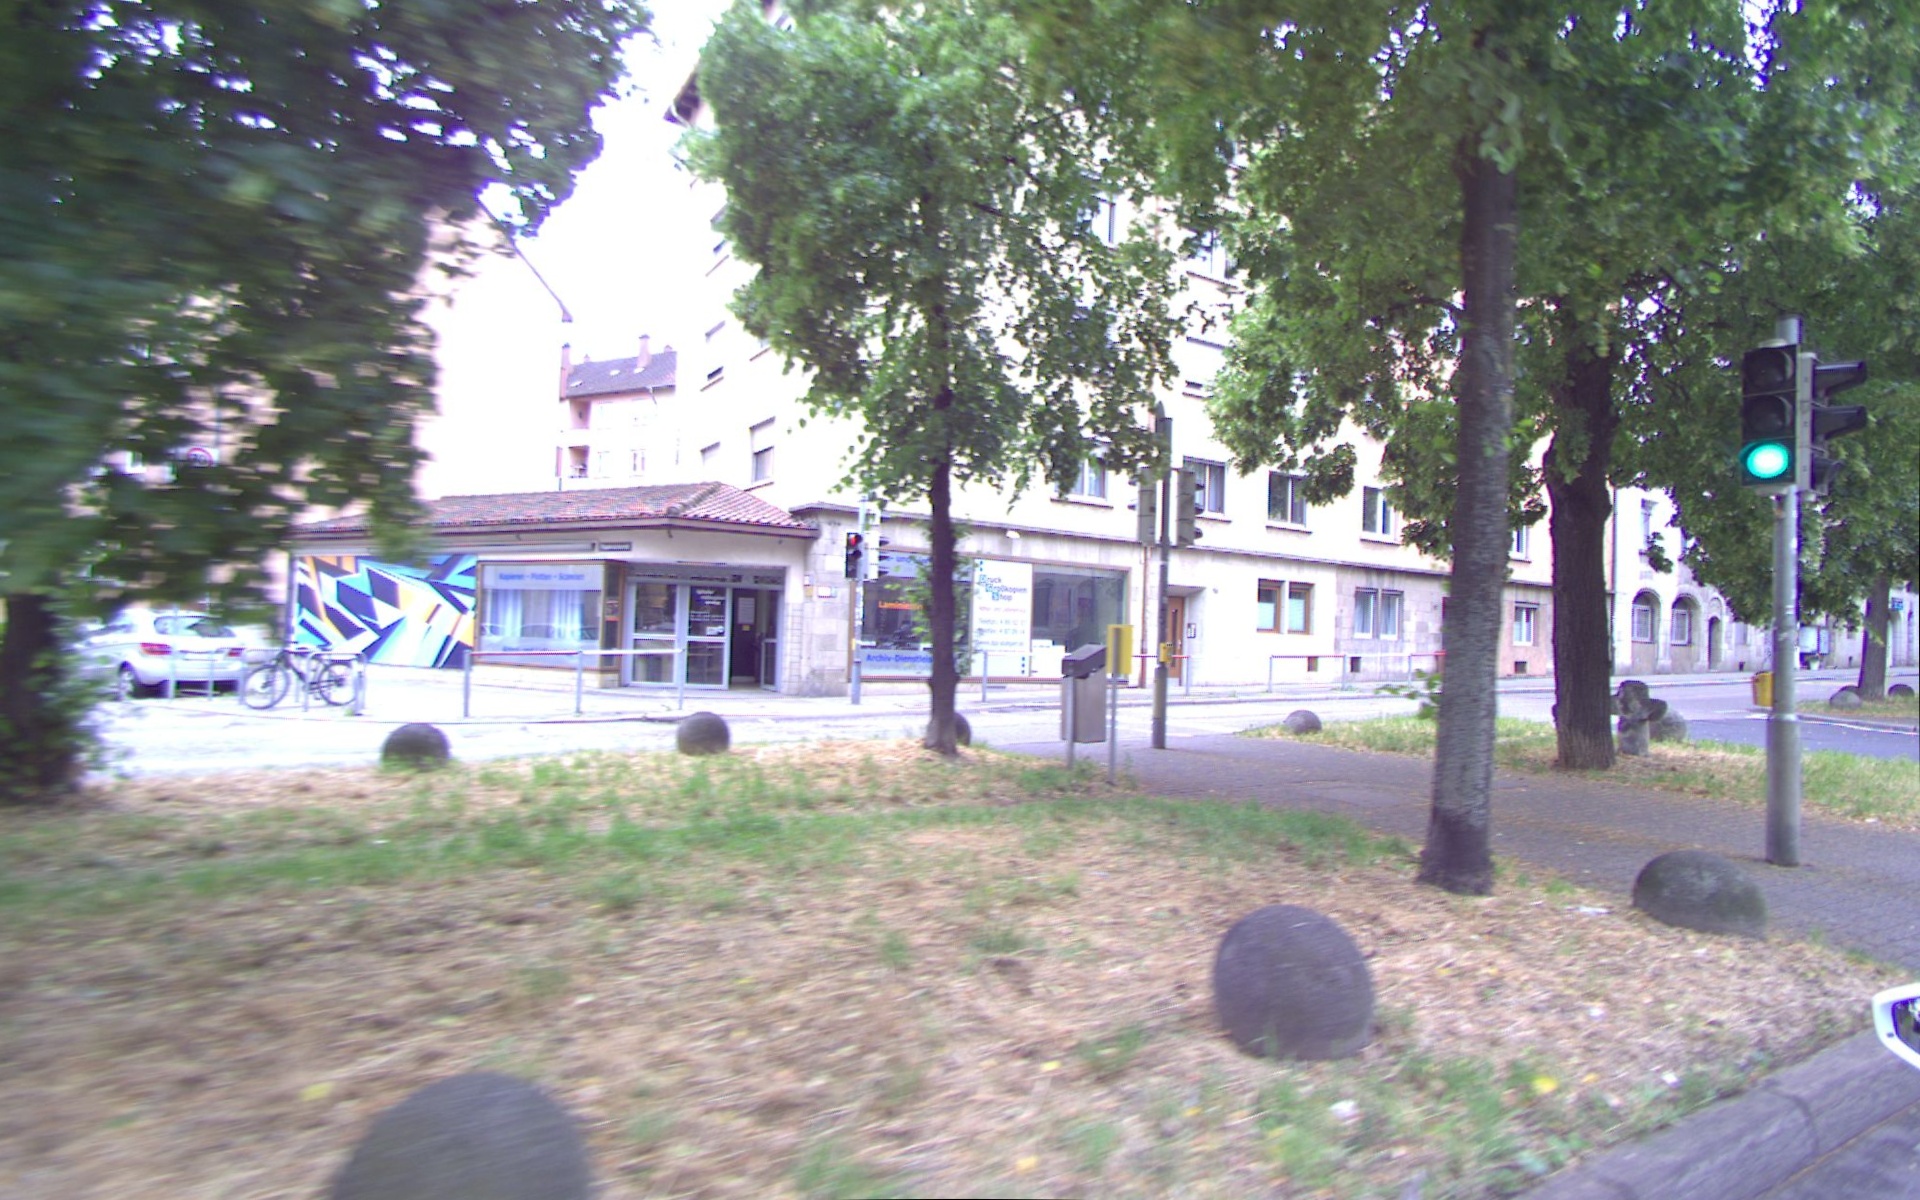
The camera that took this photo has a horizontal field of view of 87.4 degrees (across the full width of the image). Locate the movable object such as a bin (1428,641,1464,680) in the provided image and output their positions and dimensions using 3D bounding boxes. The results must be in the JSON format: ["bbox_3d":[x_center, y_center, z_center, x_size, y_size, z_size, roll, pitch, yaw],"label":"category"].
[{"bbox_3d":[14.238,1.771,29.416,0.683,1.074,0.687,3,-1,-35],"label":"movable object such as a bin"}]

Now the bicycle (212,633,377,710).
[{"bbox_3d":[-10.499,1.099,15.911,0.752,1.099,2.028,2,0,38],"label":"bicycle"}]

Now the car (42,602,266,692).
[{"bbox_3d":[-14.943,0.907,18.612,3.968,1.498,1.819,-3,-3,28],"label":"car"}]
